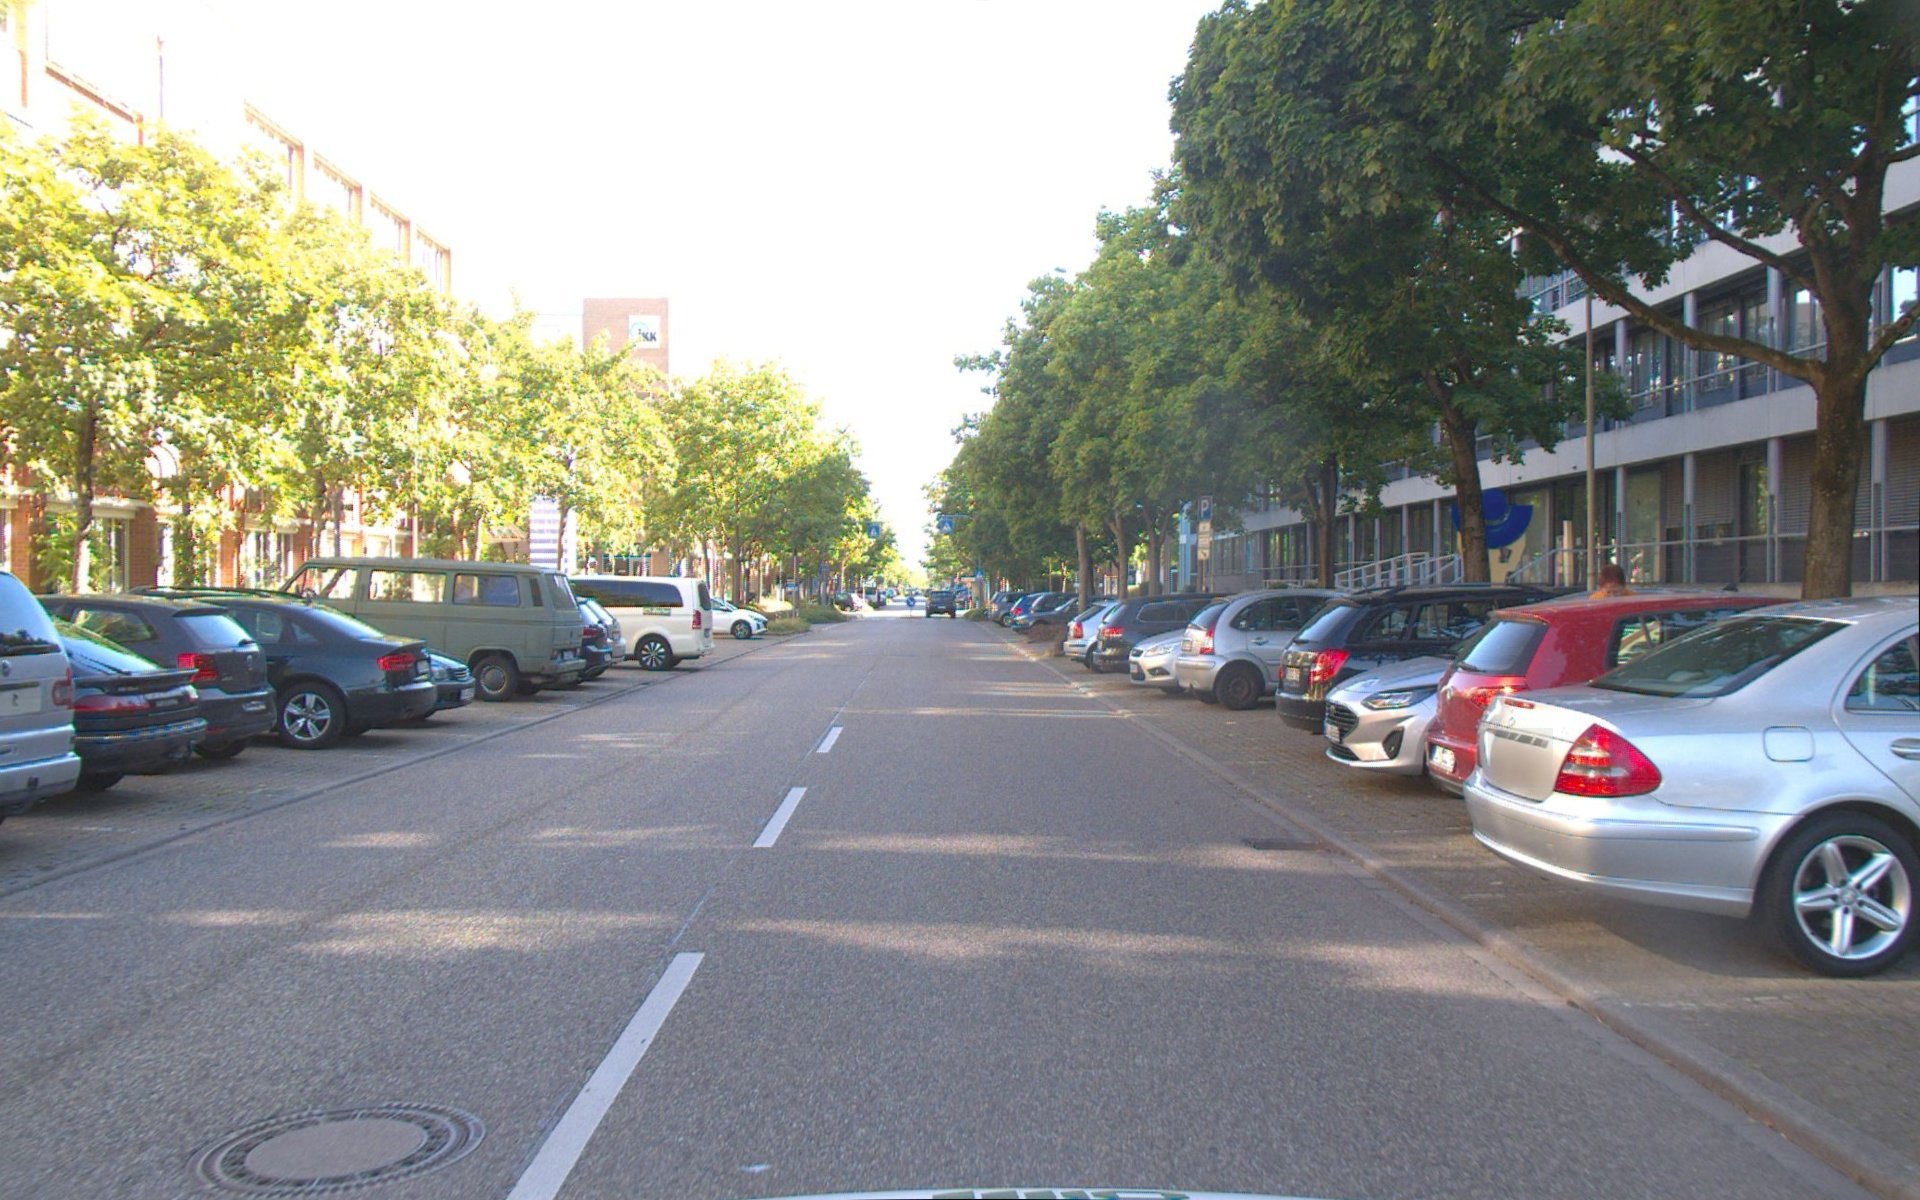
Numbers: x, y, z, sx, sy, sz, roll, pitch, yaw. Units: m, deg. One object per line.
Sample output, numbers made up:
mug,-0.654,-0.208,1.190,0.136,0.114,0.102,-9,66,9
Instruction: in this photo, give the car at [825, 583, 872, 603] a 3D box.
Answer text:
car,-9.266,-0.581,137.238,3.775,1.499,1.810,1,0,-7

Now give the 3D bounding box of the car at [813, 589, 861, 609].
car,-9.774,-0.083,131.380,3.774,1.499,1.811,1,0,-5

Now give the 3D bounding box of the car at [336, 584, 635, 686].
car,-7.624,0.540,26.867,4.231,1.503,1.943,1,0,1

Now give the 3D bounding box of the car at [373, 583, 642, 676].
car,-8.019,0.503,29.581,4.231,1.503,1.943,1,0,1

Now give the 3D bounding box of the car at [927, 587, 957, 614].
car,-1.220,0.027,110.832,1.953,1.668,3.999,1,0,-1

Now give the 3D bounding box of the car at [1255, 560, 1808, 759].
car,5.111,0.510,15.278,4.422,1.569,1.922,-2,0,1

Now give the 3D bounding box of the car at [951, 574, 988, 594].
car,1.036,-1.749,180.687,3.907,2.049,1.999,-1,0,-3

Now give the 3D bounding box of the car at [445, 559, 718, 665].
car,-7.731,0.238,34.128,5.151,2.001,1.942,1,0,-1

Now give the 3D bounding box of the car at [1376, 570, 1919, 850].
car,4.681,0.602,10.219,3.757,1.472,1.922,-2,0,3

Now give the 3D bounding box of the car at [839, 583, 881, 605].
car,-9.759,-0.607,161.691,3.903,2.049,2.001,-1,0,3

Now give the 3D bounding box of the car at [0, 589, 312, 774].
car,-7.816,0.659,14.394,3.651,1.452,1.724,1,0,-2

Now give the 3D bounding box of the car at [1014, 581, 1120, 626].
car,4.045,0.136,62.921,3.868,1.541,1.813,-2,0,0

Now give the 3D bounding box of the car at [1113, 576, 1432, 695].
car,4.540,0.485,24.389,4.204,1.519,2.001,-2,0,-7

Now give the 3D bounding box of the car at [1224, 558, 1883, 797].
car,4.406,0.556,12.869,4.421,1.569,1.922,-2,0,3

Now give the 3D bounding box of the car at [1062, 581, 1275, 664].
car,4.049,0.426,32.516,3.891,1.444,1.709,-2,0,-3

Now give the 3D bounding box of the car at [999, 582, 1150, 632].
car,3.729,0.218,54.454,4.729,1.444,2.031,-2,0,-3

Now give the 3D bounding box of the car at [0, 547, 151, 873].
car,-7.254,0.533,9.461,4.233,1.747,1.962,1,0,-2

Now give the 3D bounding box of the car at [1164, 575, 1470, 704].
car,4.721,0.502,22.143,3.670,1.519,1.615,-2,0,-5

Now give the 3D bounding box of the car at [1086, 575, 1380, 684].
car,4.448,0.459,27.378,4.498,1.519,1.762,-3,0,-1

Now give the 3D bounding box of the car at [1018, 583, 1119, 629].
car,3.916,0.216,60.395,3.566,1.541,1.813,-2,0,1

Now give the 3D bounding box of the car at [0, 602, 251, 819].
car,-7.589,0.709,11.824,4.234,1.382,1.756,1,0,-2

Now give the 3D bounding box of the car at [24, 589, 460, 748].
car,-7.106,0.663,16.697,3.655,1.452,1.722,1,0,-7

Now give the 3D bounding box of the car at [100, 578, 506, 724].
car,-7.628,0.568,19.487,4.048,1.554,1.725,1,0,-1

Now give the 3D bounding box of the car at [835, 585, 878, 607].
car,-9.892,-0.384,158.530,3.903,2.049,2.001,-1,0,3

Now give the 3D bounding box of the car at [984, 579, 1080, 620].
car,3.335,-0.019,77.096,4.265,1.733,1.811,-2,0,-4

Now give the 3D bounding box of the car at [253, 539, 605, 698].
car,-7.657,0.252,24.179,4.395,2.126,2.083,1,0,1

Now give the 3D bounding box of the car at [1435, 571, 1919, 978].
car,4.603,0.619,7.289,4.485,1.501,1.747,-2,0,-1

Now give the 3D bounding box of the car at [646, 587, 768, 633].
car,-8.599,0.344,56.511,3.907,1.512,1.806,1,0,-2
